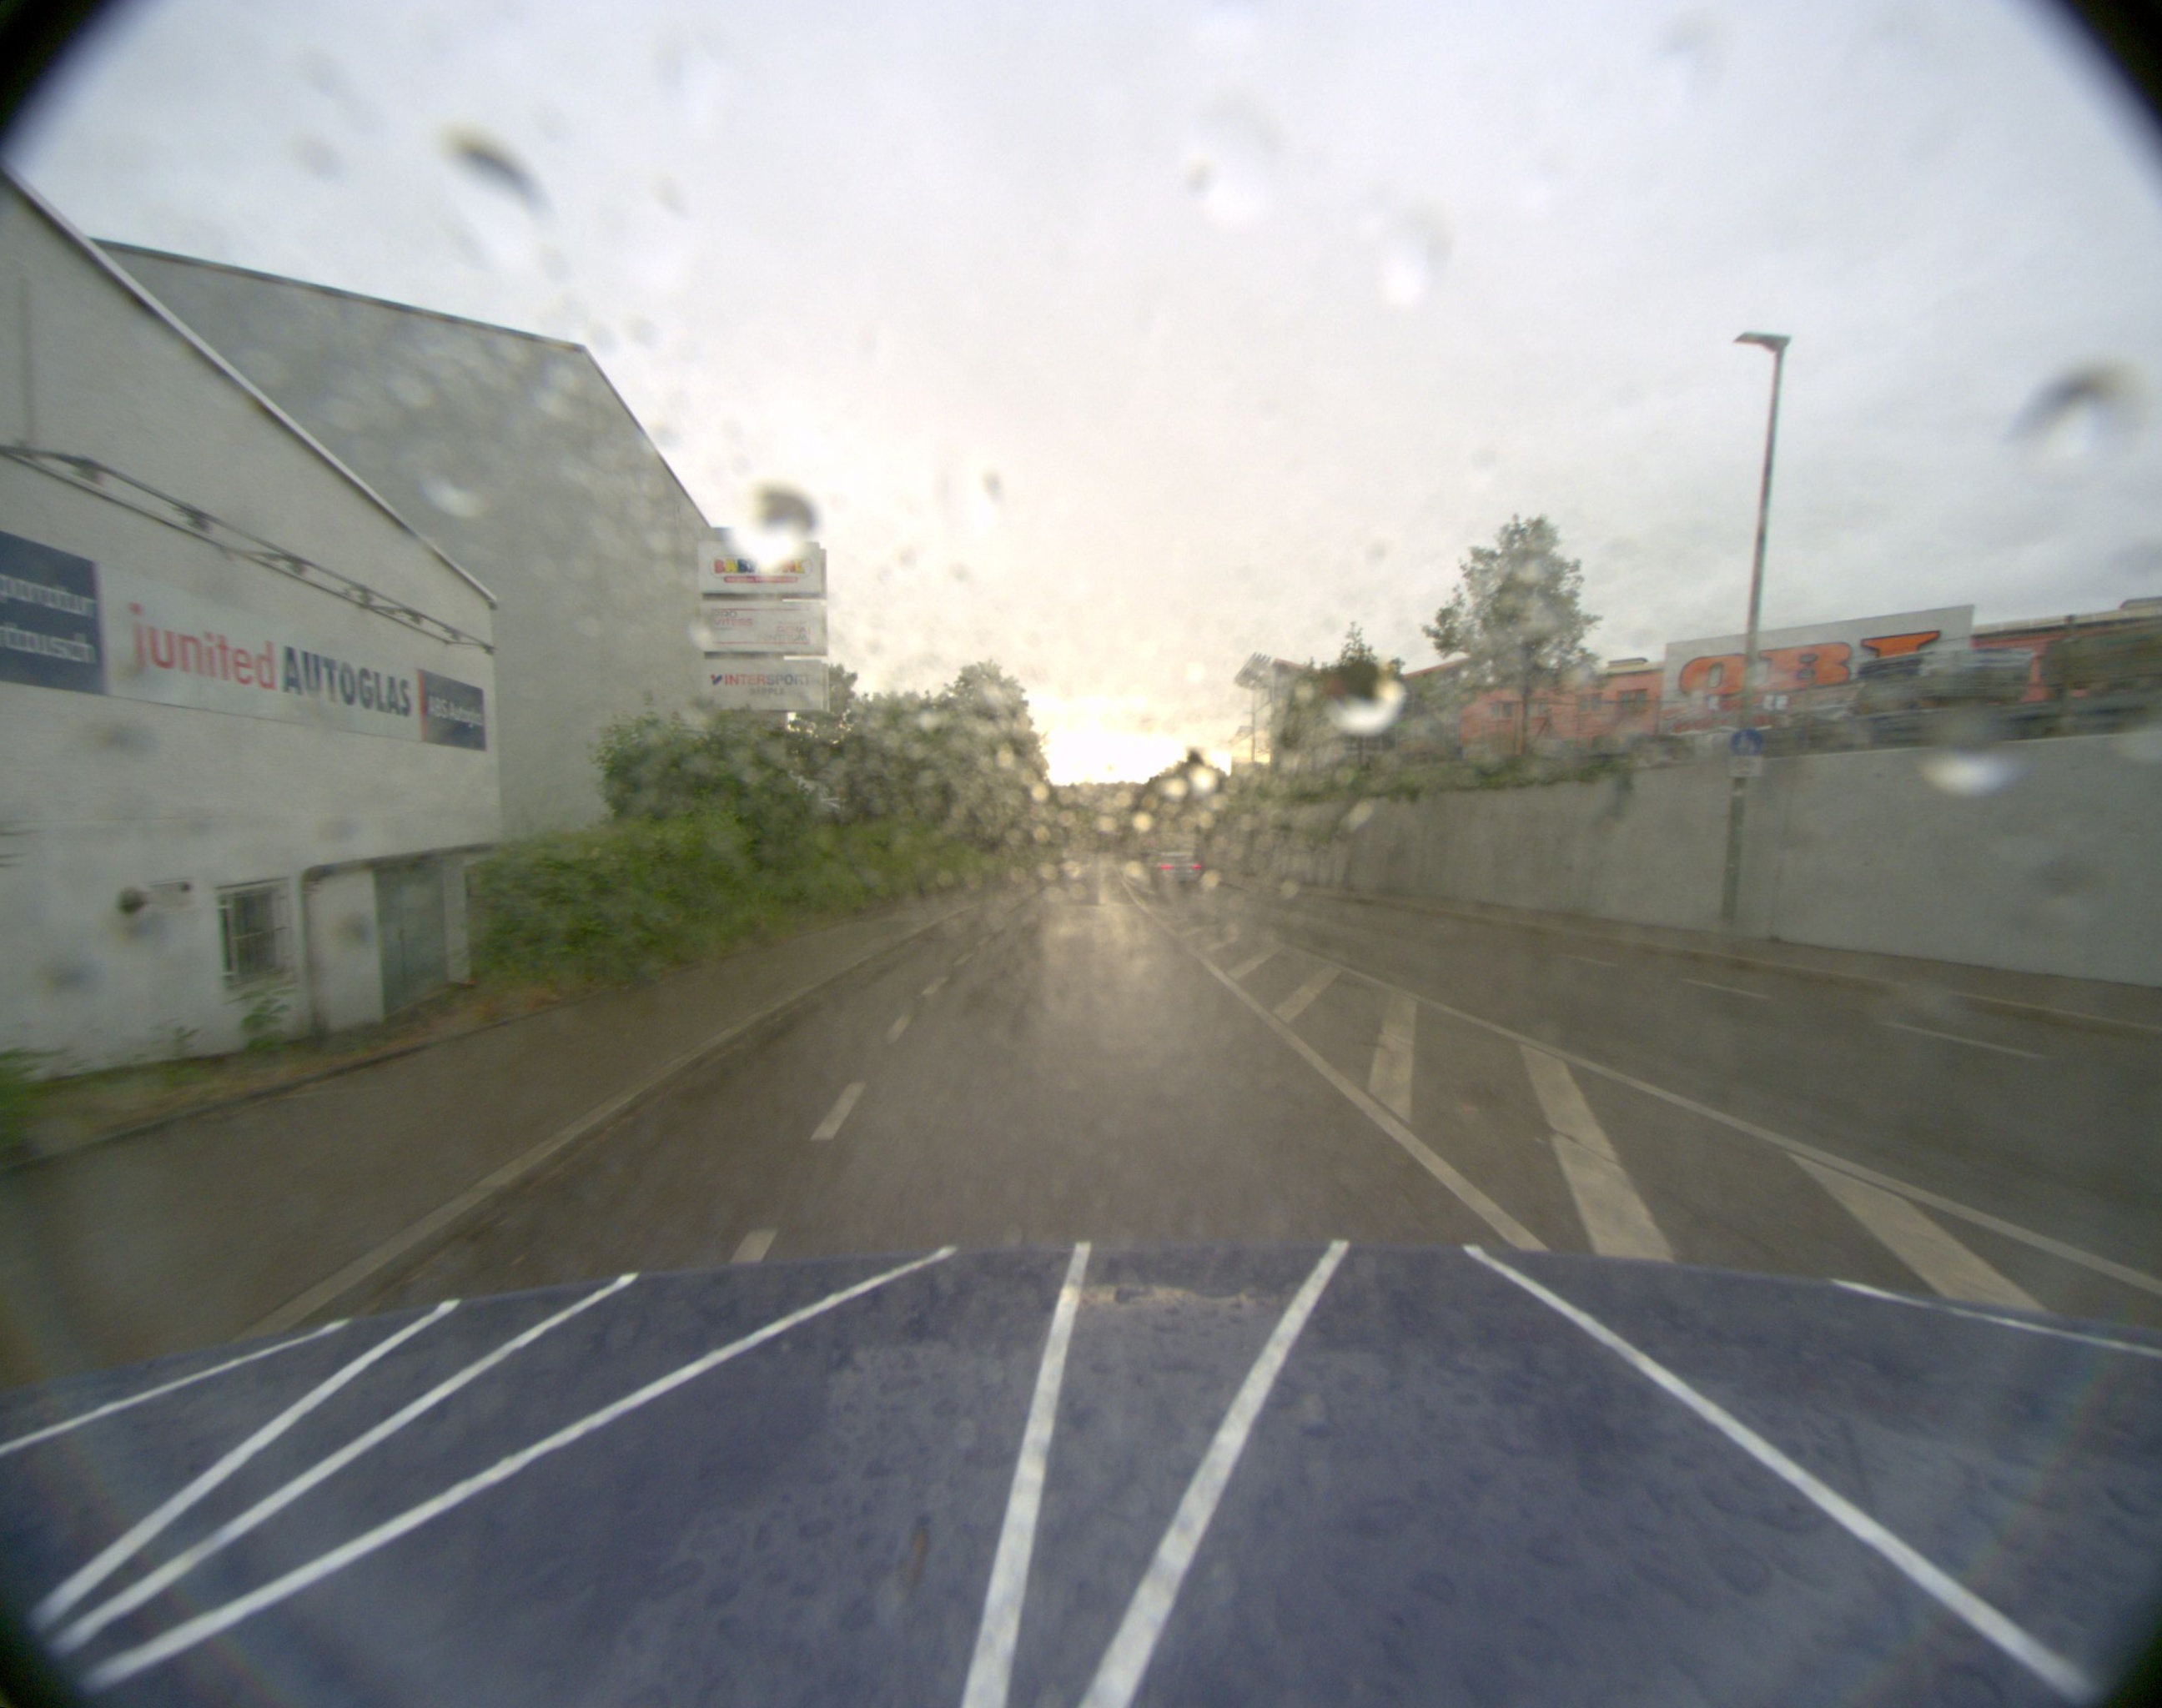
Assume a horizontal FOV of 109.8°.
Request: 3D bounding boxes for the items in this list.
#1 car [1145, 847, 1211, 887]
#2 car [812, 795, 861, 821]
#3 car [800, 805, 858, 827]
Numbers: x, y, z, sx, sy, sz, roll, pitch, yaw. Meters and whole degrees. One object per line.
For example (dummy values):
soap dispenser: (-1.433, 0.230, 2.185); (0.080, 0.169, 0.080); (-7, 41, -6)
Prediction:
car: (3.923, 0.483, 31.479); (2.006, 1.418, 4.779); (-1, 1, -2)
car: (-16.715, -3.139, 51.982); (3.002, 1.669, 1.486); (-2, 5, -12)
car: (-14.613, -2.239, 44.238); (3.002, 1.189, 1.486); (-2, 4, -12)
